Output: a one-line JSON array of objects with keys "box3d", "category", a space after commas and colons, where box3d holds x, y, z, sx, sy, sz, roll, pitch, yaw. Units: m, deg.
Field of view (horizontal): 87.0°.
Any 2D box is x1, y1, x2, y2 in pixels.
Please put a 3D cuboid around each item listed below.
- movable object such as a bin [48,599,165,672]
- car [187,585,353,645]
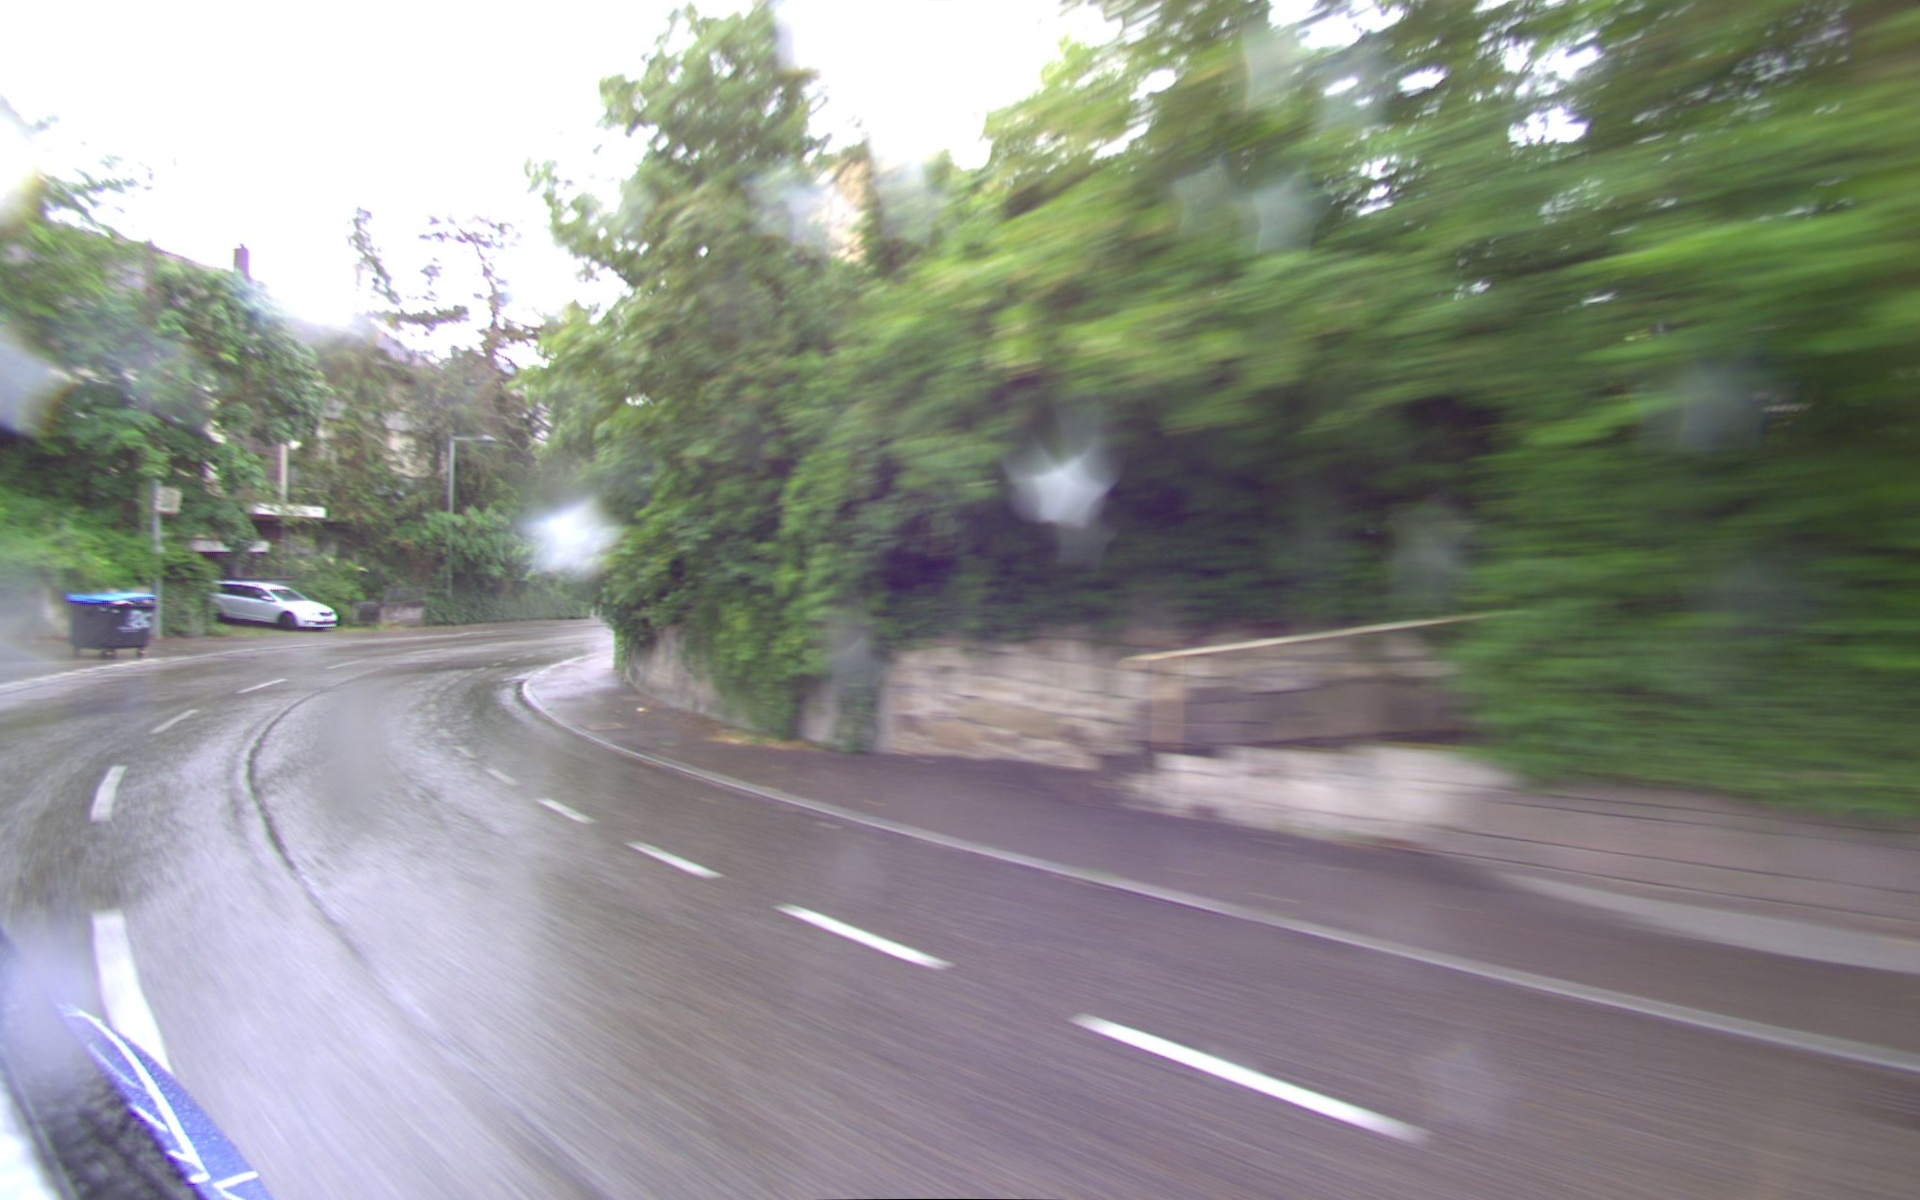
[{"box3d": [-18.537, 0.762, 22.029, 1.145, 1.420, 1.483, 5, -1, 4], "category": "movable object such as a bin"}, {"box3d": [-24.403, 0.527, 35.913, 4.507, 1.564, 1.998, 6, -1, 4], "category": "car"}]
